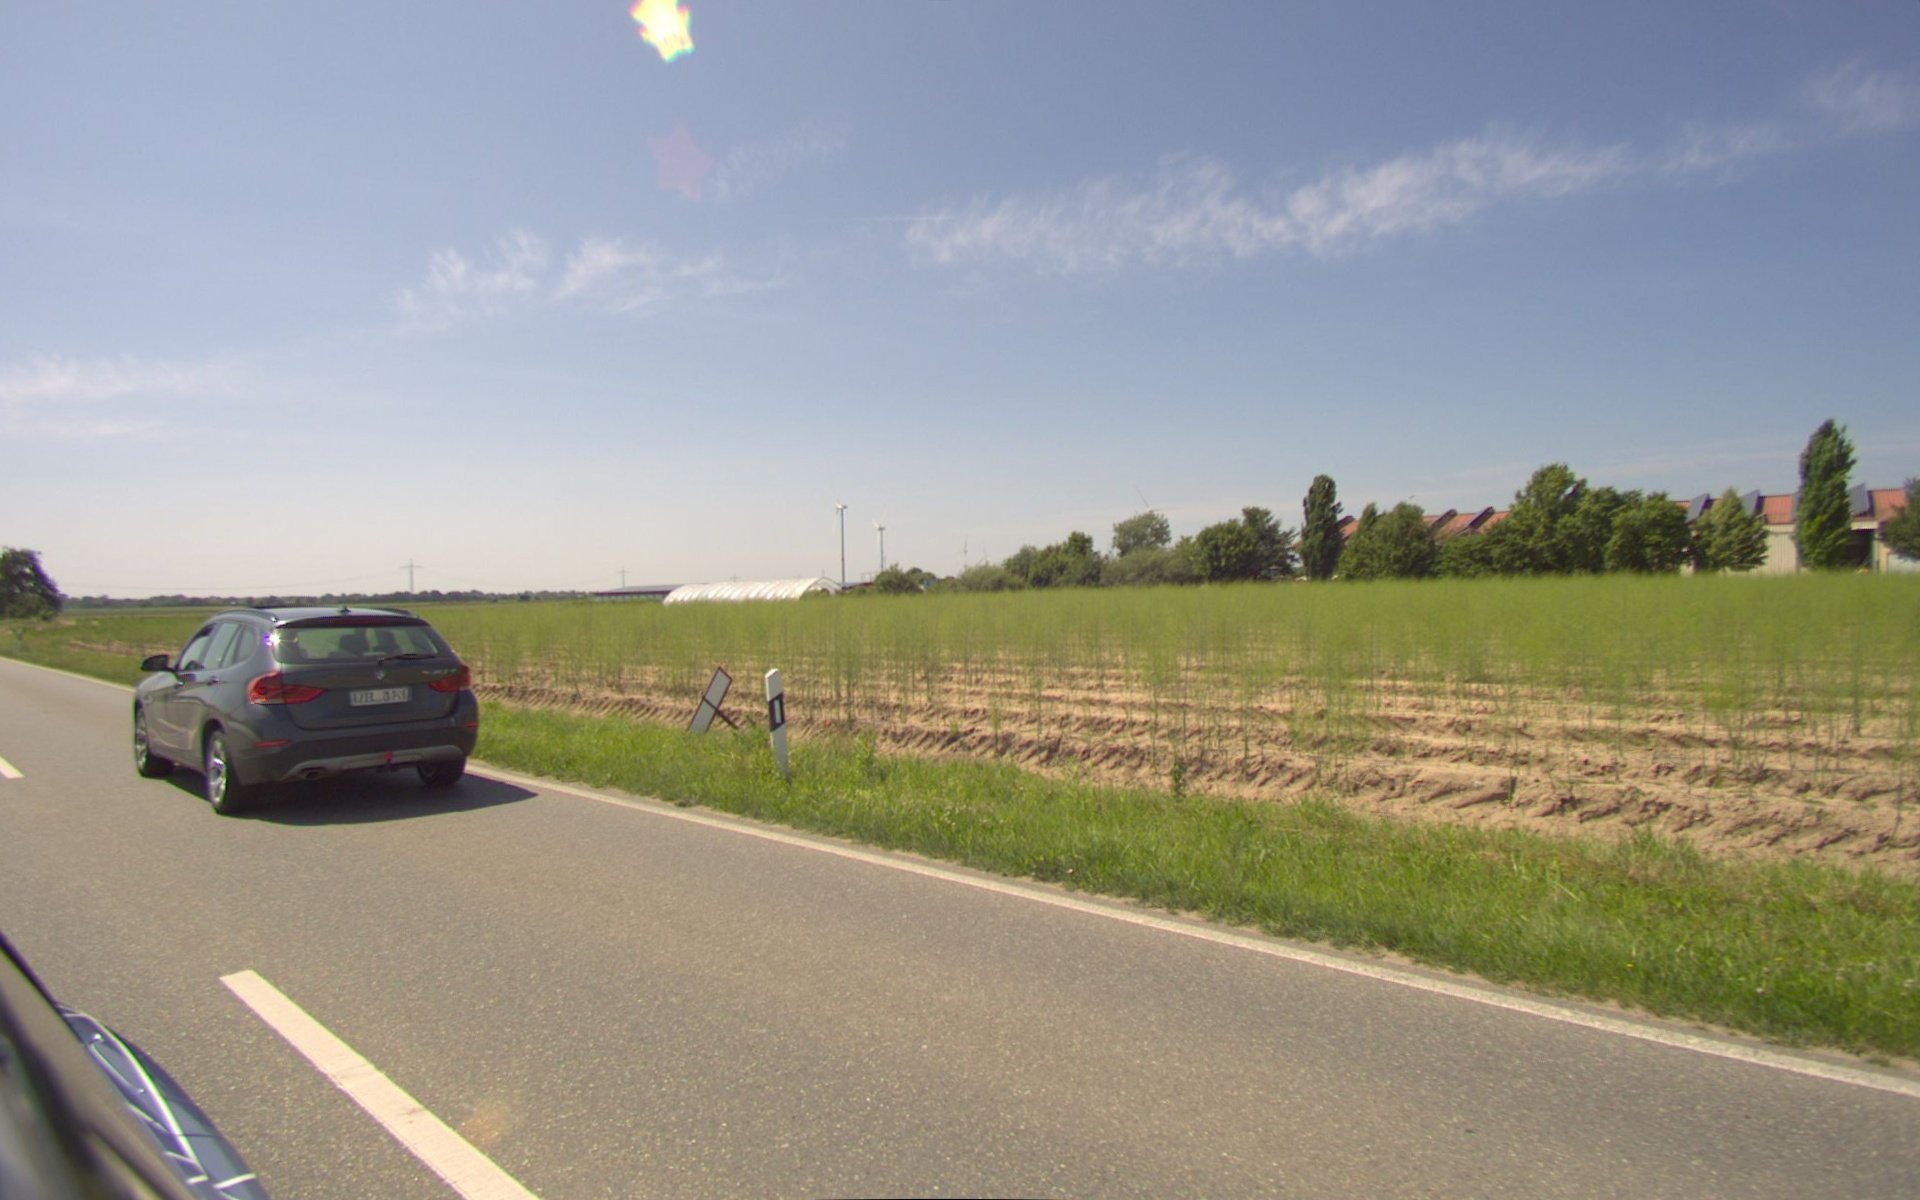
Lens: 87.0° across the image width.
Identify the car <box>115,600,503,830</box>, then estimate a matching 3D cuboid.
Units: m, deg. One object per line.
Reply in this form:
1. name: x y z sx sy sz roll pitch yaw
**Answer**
1. car: -5.808 0.792 8.825 4.139 1.544 1.722 -1 0 40
